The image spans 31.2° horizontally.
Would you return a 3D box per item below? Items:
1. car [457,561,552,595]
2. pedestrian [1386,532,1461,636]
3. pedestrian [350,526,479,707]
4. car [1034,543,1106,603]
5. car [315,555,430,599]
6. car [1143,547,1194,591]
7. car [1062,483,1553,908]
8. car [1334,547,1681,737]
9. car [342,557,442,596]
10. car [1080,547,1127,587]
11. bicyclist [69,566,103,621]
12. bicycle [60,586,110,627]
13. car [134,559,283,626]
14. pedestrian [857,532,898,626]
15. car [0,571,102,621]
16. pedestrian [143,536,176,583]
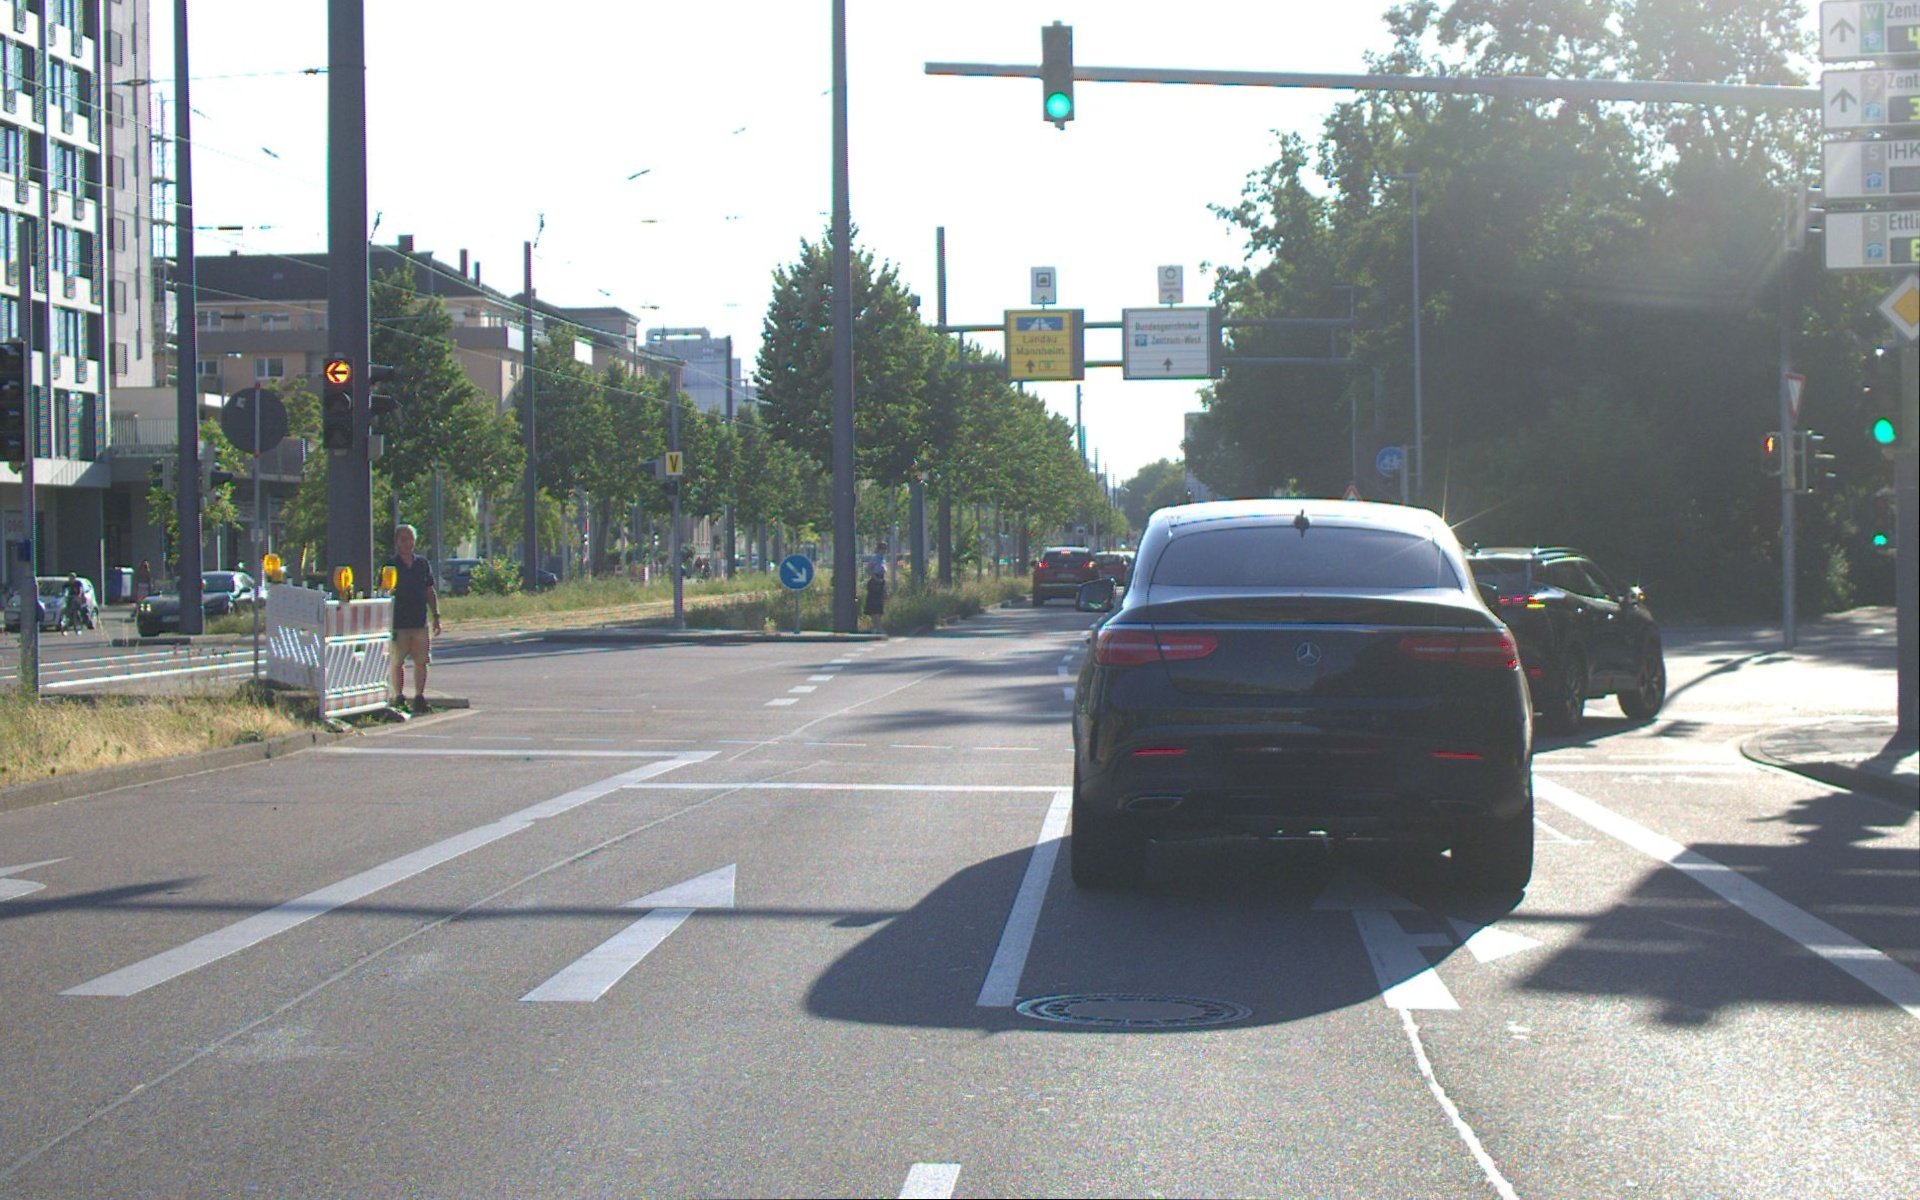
[{"bbox_3d":[-21.613,-1.058,163.156,3.988,1.557,2.000,0,1,-38],"label":"car"},{"bbox_3d":[8.224,-0.283,61.034,0.856,1.796,0.907,-3,1,-30],"label":"pedestrian"},{"bbox_3d":[-5.032,0.145,31.748,0.925,1.643,0.765,-1,1,16],"label":"pedestrian"},{"bbox_3d":[3.068,-0.769,95.413,1.886,1.575,4.000,0,2,3],"label":"car"},{"bbox_3d":[-23.093,-0.907,135.176,4.083,1.595,1.750,1,1,-37],"label":"car"},{"bbox_3d":[7.878,-1.176,130.101,1.886,1.575,4.000,0,2,3],"label":"car"},{"bbox_3d":[1.623,0.333,16.093,1.994,1.728,3.999,0,2,6],"label":"car"},{"bbox_3d":[4.859,0.305,30.042,1.899,1.522,4.053,0,1,26],"label":"car"},{"bbox_3d":[-22.898,-0.943,138.675,3.614,1.518,1.620,1,1,-37],"label":"car"},{"bbox_3d":[5.868,-1.355,140.304,1.886,1.575,4.000,0,2,3],"label":"car"},{"bbox_3d":[-23.260,-0.179,91.496,0.625,1.460,0.851,-1,1,5],"label":"bicyclist"},{"bbox_3d":[-23.275,0.163,91.483,0.625,1.063,2.077,-1,1,5],"label":"bicycle"},{"bbox_3d":[-16.113,-0.181,73.944,1.891,1.339,4.850,-1,1,3],"label":"car"},{"bbox_3d":[-1.503,-0.383,62.498,0.598,1.693,0.714,-1,1,9],"label":"pedestrian"},{"bbox_3d":[-25.463,-0.129,95.982,1.757,1.323,4.000,1,1,4],"label":"car"},{"bbox_3d":[-28.377,-1.452,121.828,0.843,1.648,0.970,-1,1,6],"label":"pedestrian"}]
